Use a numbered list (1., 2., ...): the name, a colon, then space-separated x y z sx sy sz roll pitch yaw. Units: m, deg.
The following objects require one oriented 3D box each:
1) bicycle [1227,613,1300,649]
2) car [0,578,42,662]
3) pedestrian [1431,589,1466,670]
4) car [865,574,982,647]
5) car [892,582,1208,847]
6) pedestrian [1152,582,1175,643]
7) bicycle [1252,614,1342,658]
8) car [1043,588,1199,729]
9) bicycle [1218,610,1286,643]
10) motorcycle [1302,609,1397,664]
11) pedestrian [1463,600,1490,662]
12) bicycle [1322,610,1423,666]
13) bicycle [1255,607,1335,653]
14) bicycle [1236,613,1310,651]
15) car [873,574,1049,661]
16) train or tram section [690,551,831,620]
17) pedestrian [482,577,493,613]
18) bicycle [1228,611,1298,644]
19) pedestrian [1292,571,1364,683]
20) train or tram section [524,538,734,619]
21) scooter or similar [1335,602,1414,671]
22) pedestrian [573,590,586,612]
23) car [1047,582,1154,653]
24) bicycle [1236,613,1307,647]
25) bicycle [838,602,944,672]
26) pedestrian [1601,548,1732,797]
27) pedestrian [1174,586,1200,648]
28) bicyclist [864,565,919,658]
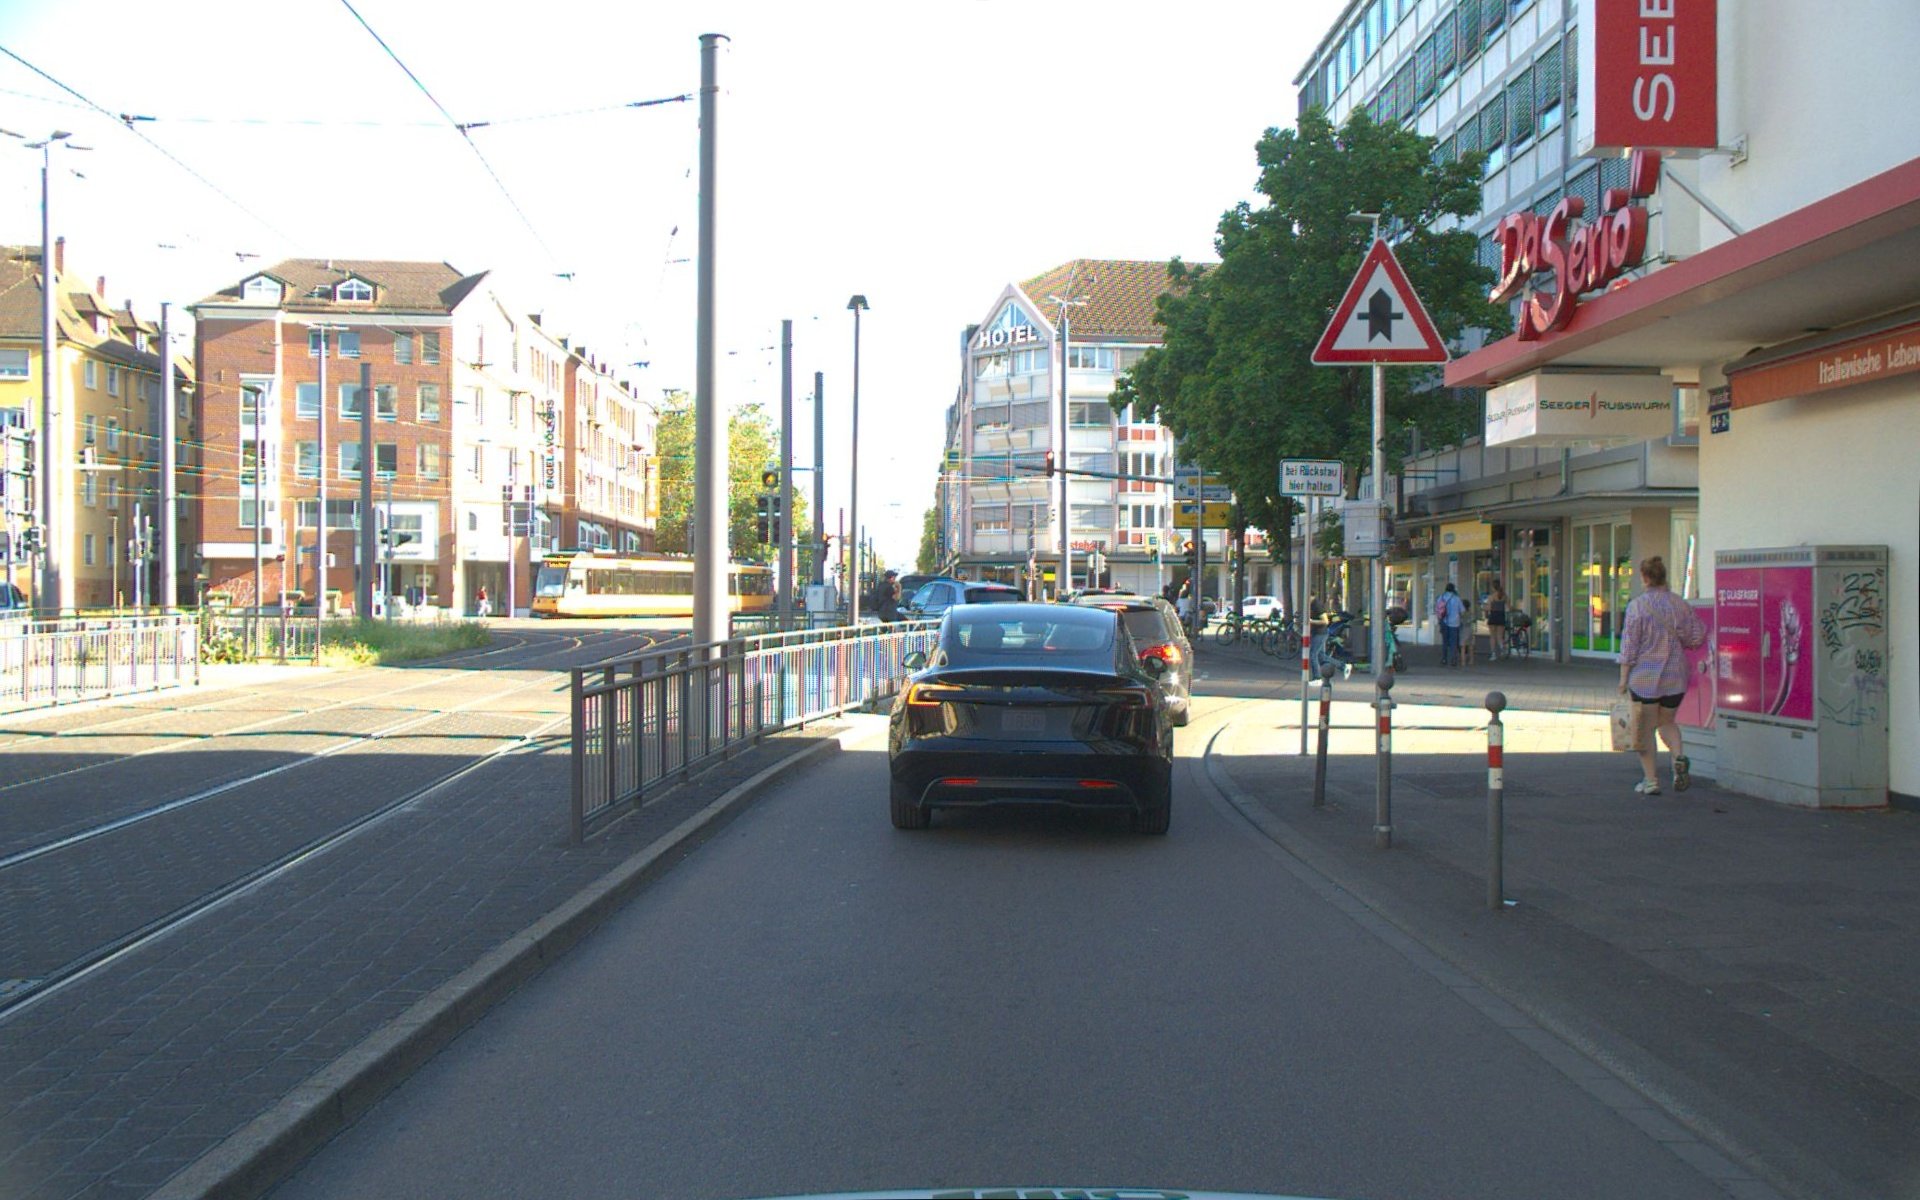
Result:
1. bicycle: 8.270 0.841 45.035 1.885 0.967 0.526 1 0 -1
2. car: -19.626 0.370 32.968 1.757 1.595 4.264 -1 1 -22
3. pedestrian: 10.261 0.616 34.748 0.583 1.670 0.466 -1 0 0
4. car: -0.910 0.224 38.510 1.793 1.545 4.202 2 0 -14
5. car: 0.457 0.683 11.620 1.812 1.510 3.785 2 0 -3
6. pedestrian: 5.786 0.357 47.081 0.550 1.712 0.750 1 0 3
7. bicycle: 7.963 0.852 39.120 2.009 0.999 0.483 1 0 -1
8. car: 1.971 0.604 19.654 1.618 1.443 4.003 2 1 7
9. bicycle: 8.517 0.772 48.278 1.885 0.906 0.526 1 0 -1
10. motorcycle: 8.712 0.817 36.987 1.951 1.147 0.596 2 0 -2
11. pedestrian: 10.897 0.646 34.894 0.411 1.303 0.531 0 0 0
12. bicycle: 8.698 0.794 34.911 2.009 1.141 0.483 1 0 -1
13. bicycle: 8.320 0.749 41.121 1.885 1.116 0.554 1 0 -1
14. bicycle: 8.325 0.840 44.020 1.885 0.967 0.526 1 0 -1
15. car: -0.067 0.303 32.400 1.761 1.545 4.183 2 0 -26
16. train or tram section: -11.967 -0.752 101.529 2.581 3.783 15.395 2 0 16
17. pedestrian: -27.475 -0.296 96.229 0.555 2.049 0.349 2 -1 -17
18. bicycle: 8.635 0.787 47.164 1.885 0.906 0.526 1 0 -1
19. pedestrian: 5.991 0.442 26.927 0.992 1.772 0.524 2 -1 -27
20. train or tram section: -17.170 -0.988 87.679 2.623 3.780 14.174 2 0 27
21. scooter or similar: 8.148 0.723 32.520 1.392 1.340 0.690 1 -2 -27
22. pedestrian: -24.121 0.048 104.807 0.697 1.365 0.666 0 0 -2
23. car: 3.278 0.394 39.230 1.789 1.545 3.644 2 0 -7
24. bicycle: 8.669 0.840 46.040 1.885 0.903 0.526 1 0 -1
25. bicycle: -1.173 0.617 28.032 1.696 1.107 0.677 2 0 -9
26. pedestrian: 5.108 0.505 12.006 0.800 1.712 0.714 2 -1 22
27. pedestrian: 6.137 0.460 44.744 0.616 1.642 0.643 1 0 2
28. bicyclist: -1.169 0.191 28.062 0.821 1.526 0.559 2 0 -9
